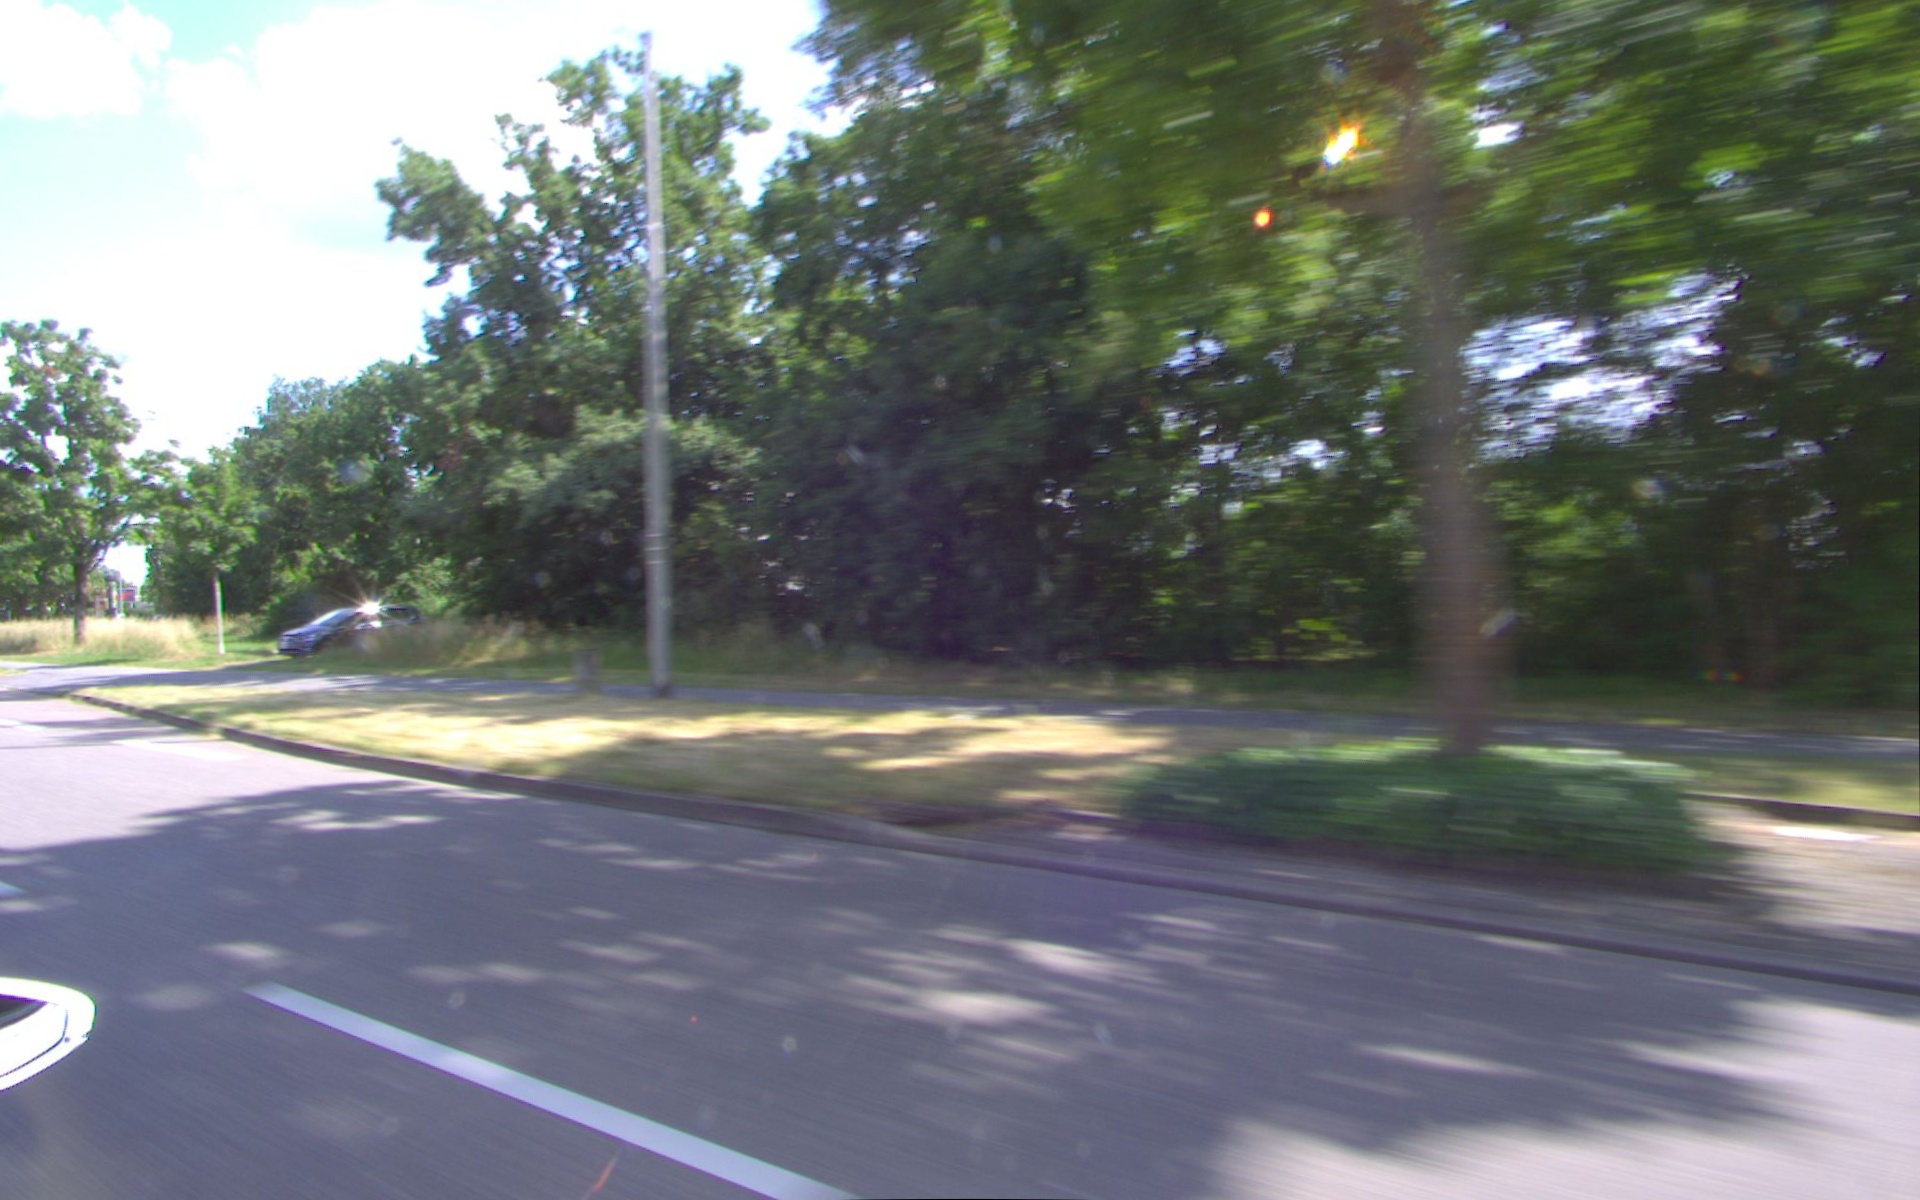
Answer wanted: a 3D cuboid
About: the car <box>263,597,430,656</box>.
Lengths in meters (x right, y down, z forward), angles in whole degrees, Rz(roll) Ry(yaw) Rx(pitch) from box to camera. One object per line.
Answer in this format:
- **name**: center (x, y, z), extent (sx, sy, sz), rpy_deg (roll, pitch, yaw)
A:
- **car**: center (-19.194, 0.780, 31.539), extent (1.756, 1.514, 4.158), rpy_deg (1, 3, 27)
